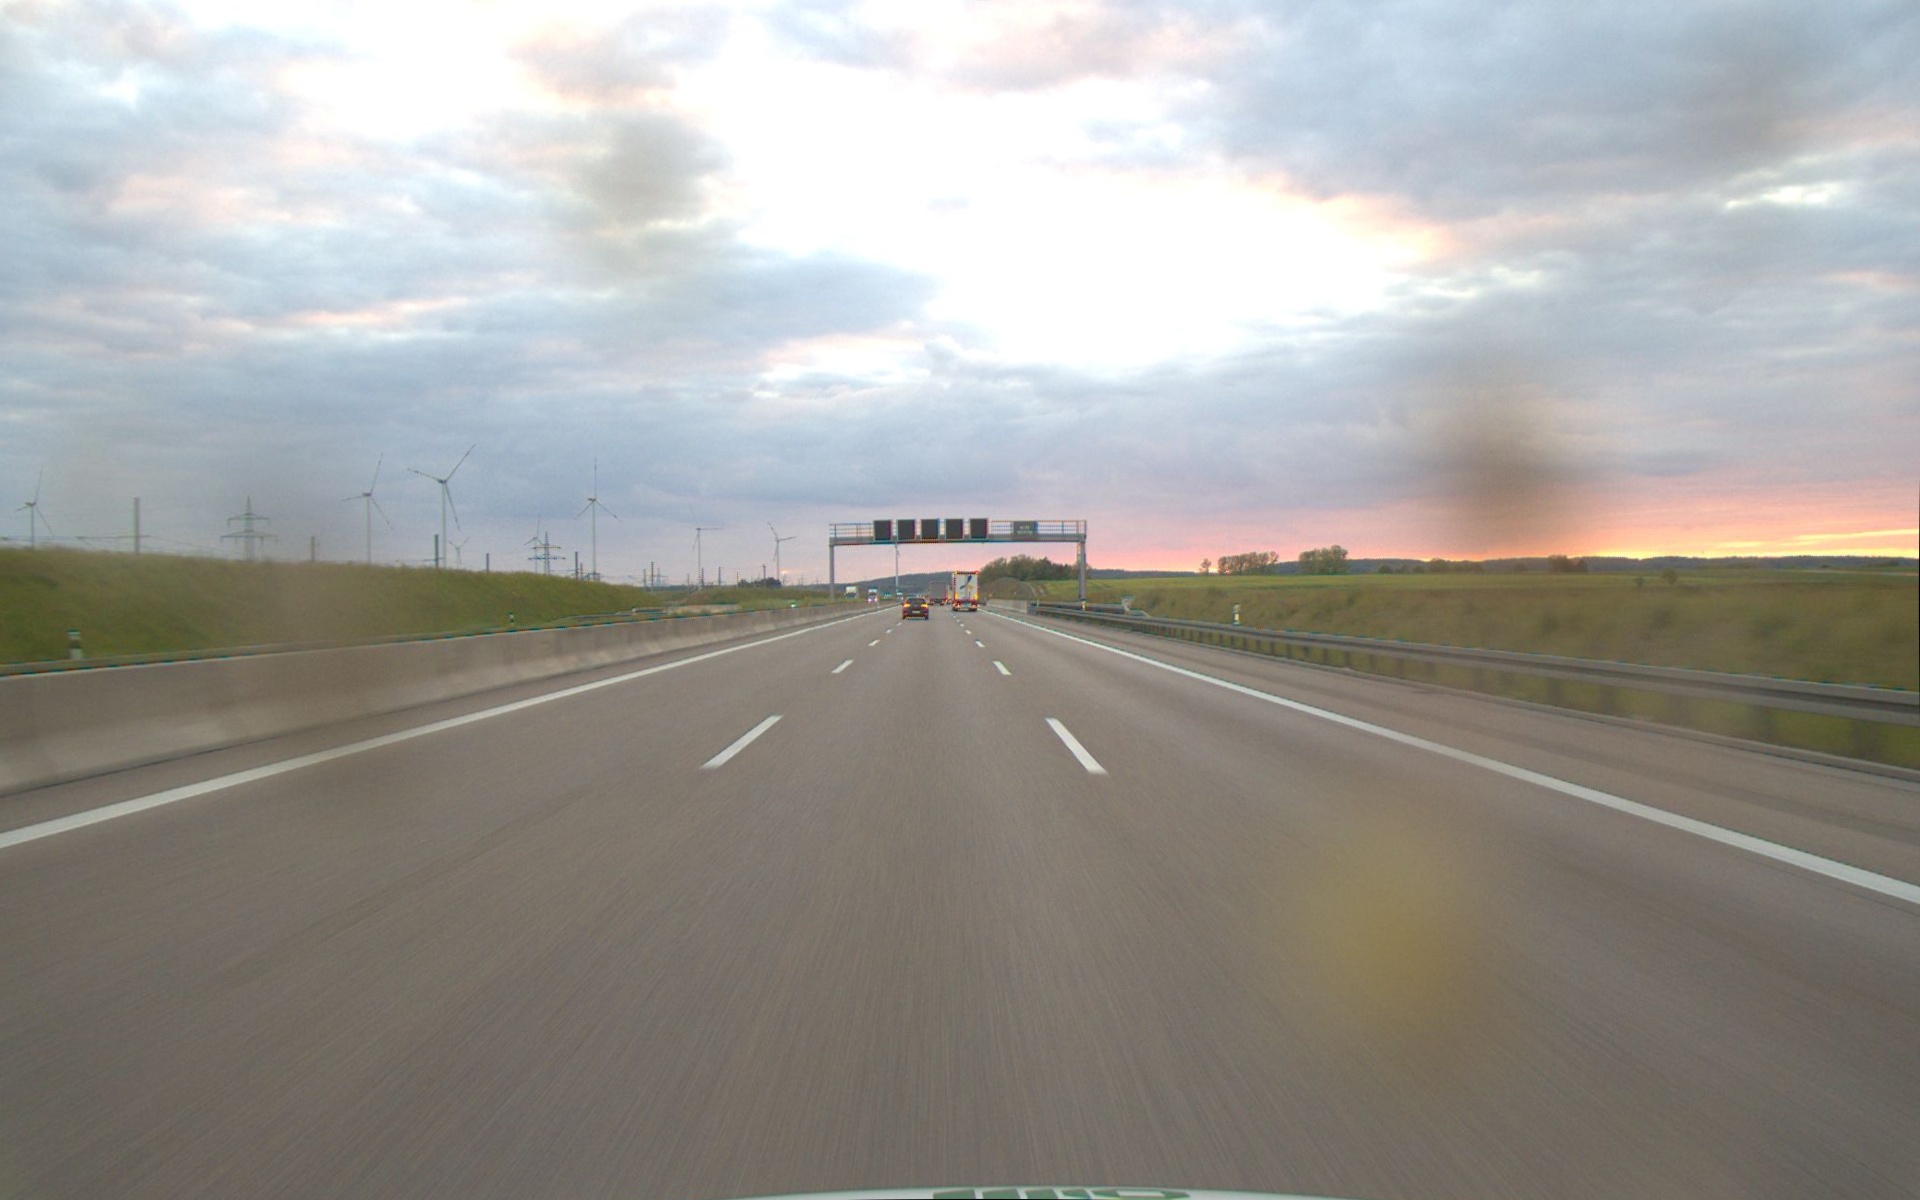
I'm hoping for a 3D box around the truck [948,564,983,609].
[{"bbox_3d":[0.536,-1.385,177.452,3.600,4.644,10.979,0,0,-1],"label":"truck"}]

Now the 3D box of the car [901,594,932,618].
[{"bbox_3d":[-2.874,0.365,108.826,1.947,1.454,3.999,-1,1,-2],"label":"car"}]
